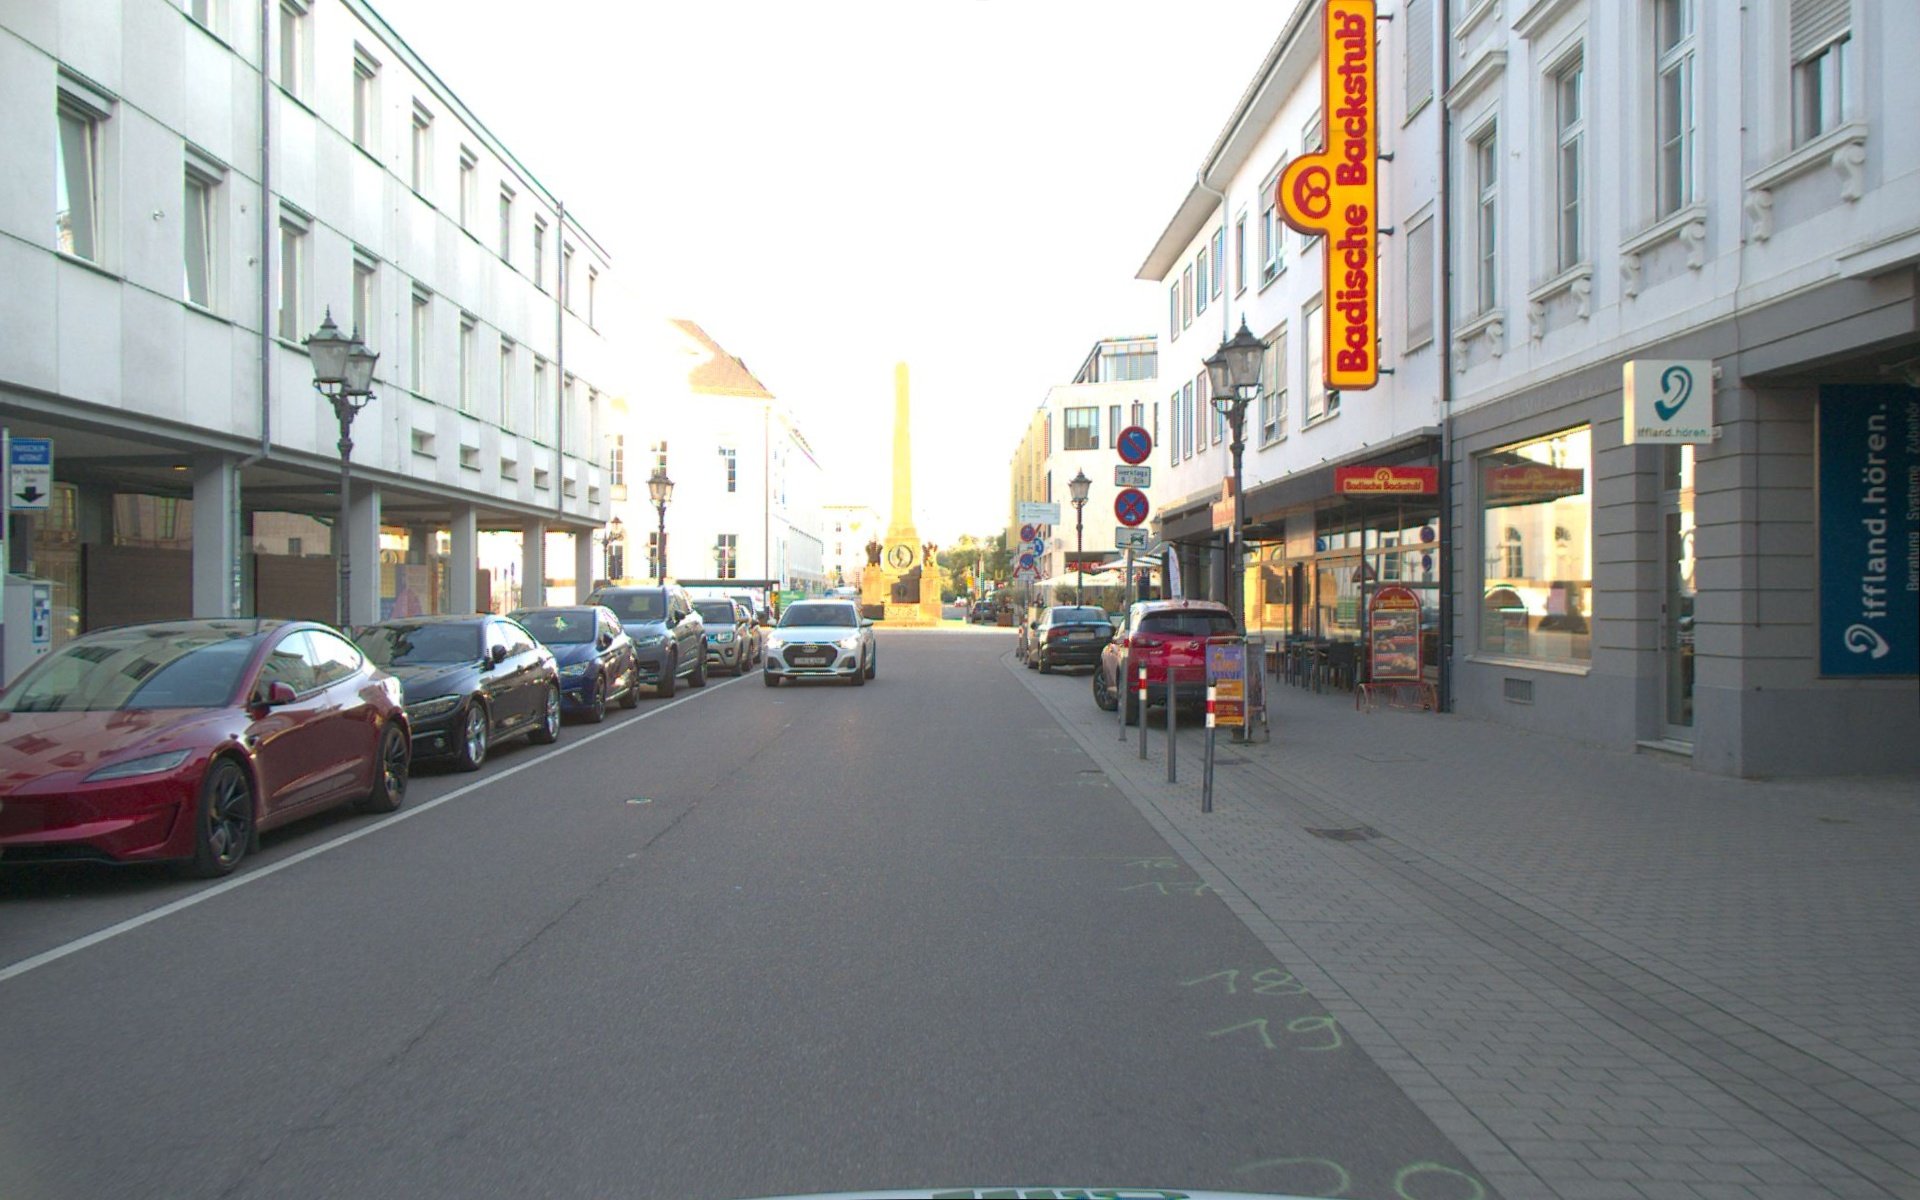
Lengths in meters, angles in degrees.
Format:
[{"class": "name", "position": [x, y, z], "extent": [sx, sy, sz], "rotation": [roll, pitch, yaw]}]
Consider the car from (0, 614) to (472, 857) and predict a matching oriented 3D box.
[{"class": "car", "position": [-5.095, 0.850, 12.219], "extent": [1.748, 1.433, 4.088], "rotation": [0, 0, 0]}]

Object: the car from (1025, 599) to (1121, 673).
[{"class": "car", "position": [2.375, 0.728, 35.686], "extent": [1.765, 1.489, 4.117], "rotation": [0, 0, 0]}]

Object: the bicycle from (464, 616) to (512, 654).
[{"class": "bicycle", "position": [-13.091, 0.948, 45.927], "extent": [0.718, 1.001, 2.334], "rotation": [0, 0, -2]}]

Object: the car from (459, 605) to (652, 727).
[{"class": "car", "position": [-5.258, 0.807, 21.975], "extent": [1.639, 1.424, 3.999], "rotation": [-1, 0, -1]}]

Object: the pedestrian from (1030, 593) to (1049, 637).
[{"class": "pedestrian", "position": [3.052, 0.568, 63.733], "extent": [0.676, 1.676, 0.695], "rotation": [0, 0, -1]}]

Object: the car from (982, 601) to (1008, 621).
[{"class": "car", "position": [2.681, 0.810, 125.839], "extent": [1.952, 1.489, 4.000], "rotation": [0, 0, 1]}]

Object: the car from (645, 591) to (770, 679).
[{"class": "car", "position": [-5.095, 0.666, 33.915], "extent": [1.953, 1.691, 4.000], "rotation": [0, 0, 0]}]

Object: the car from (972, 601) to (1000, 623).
[{"class": "car", "position": [1.848, 0.850, 117.341], "extent": [1.952, 1.489, 4.000], "rotation": [0, 0, 1]}]

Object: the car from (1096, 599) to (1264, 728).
[{"class": "car", "position": [2.812, 0.766, 21.842], "extent": [1.723, 1.550, 3.677], "rotation": [0, 0, 0]}]

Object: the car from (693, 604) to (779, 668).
[{"class": "car", "position": [-5.139, 0.797, 38.422], "extent": [1.644, 1.377, 4.103], "rotation": [0, 0, -3]}]

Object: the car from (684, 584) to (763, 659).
[{"class": "car", "position": [-6.175, 0.524, 43.439], "extent": [1.956, 1.847, 4.776], "rotation": [0, 0, -8]}]

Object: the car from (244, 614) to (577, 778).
[{"class": "car", "position": [-5.218, 0.847, 16.313], "extent": [1.953, 1.378, 4.000], "rotation": [0, 0, 0]}]

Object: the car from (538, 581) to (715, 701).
[{"class": "car", "position": [-5.351, 0.614, 27.133], "extent": [1.953, 1.758, 4.515], "rotation": [-2, 0, 0]}]

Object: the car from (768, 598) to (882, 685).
[{"class": "car", "position": [-2.357, 0.686, 29.652], "extent": [1.728, 1.447, 4.000], "rotation": [0, 0, 0]}]
